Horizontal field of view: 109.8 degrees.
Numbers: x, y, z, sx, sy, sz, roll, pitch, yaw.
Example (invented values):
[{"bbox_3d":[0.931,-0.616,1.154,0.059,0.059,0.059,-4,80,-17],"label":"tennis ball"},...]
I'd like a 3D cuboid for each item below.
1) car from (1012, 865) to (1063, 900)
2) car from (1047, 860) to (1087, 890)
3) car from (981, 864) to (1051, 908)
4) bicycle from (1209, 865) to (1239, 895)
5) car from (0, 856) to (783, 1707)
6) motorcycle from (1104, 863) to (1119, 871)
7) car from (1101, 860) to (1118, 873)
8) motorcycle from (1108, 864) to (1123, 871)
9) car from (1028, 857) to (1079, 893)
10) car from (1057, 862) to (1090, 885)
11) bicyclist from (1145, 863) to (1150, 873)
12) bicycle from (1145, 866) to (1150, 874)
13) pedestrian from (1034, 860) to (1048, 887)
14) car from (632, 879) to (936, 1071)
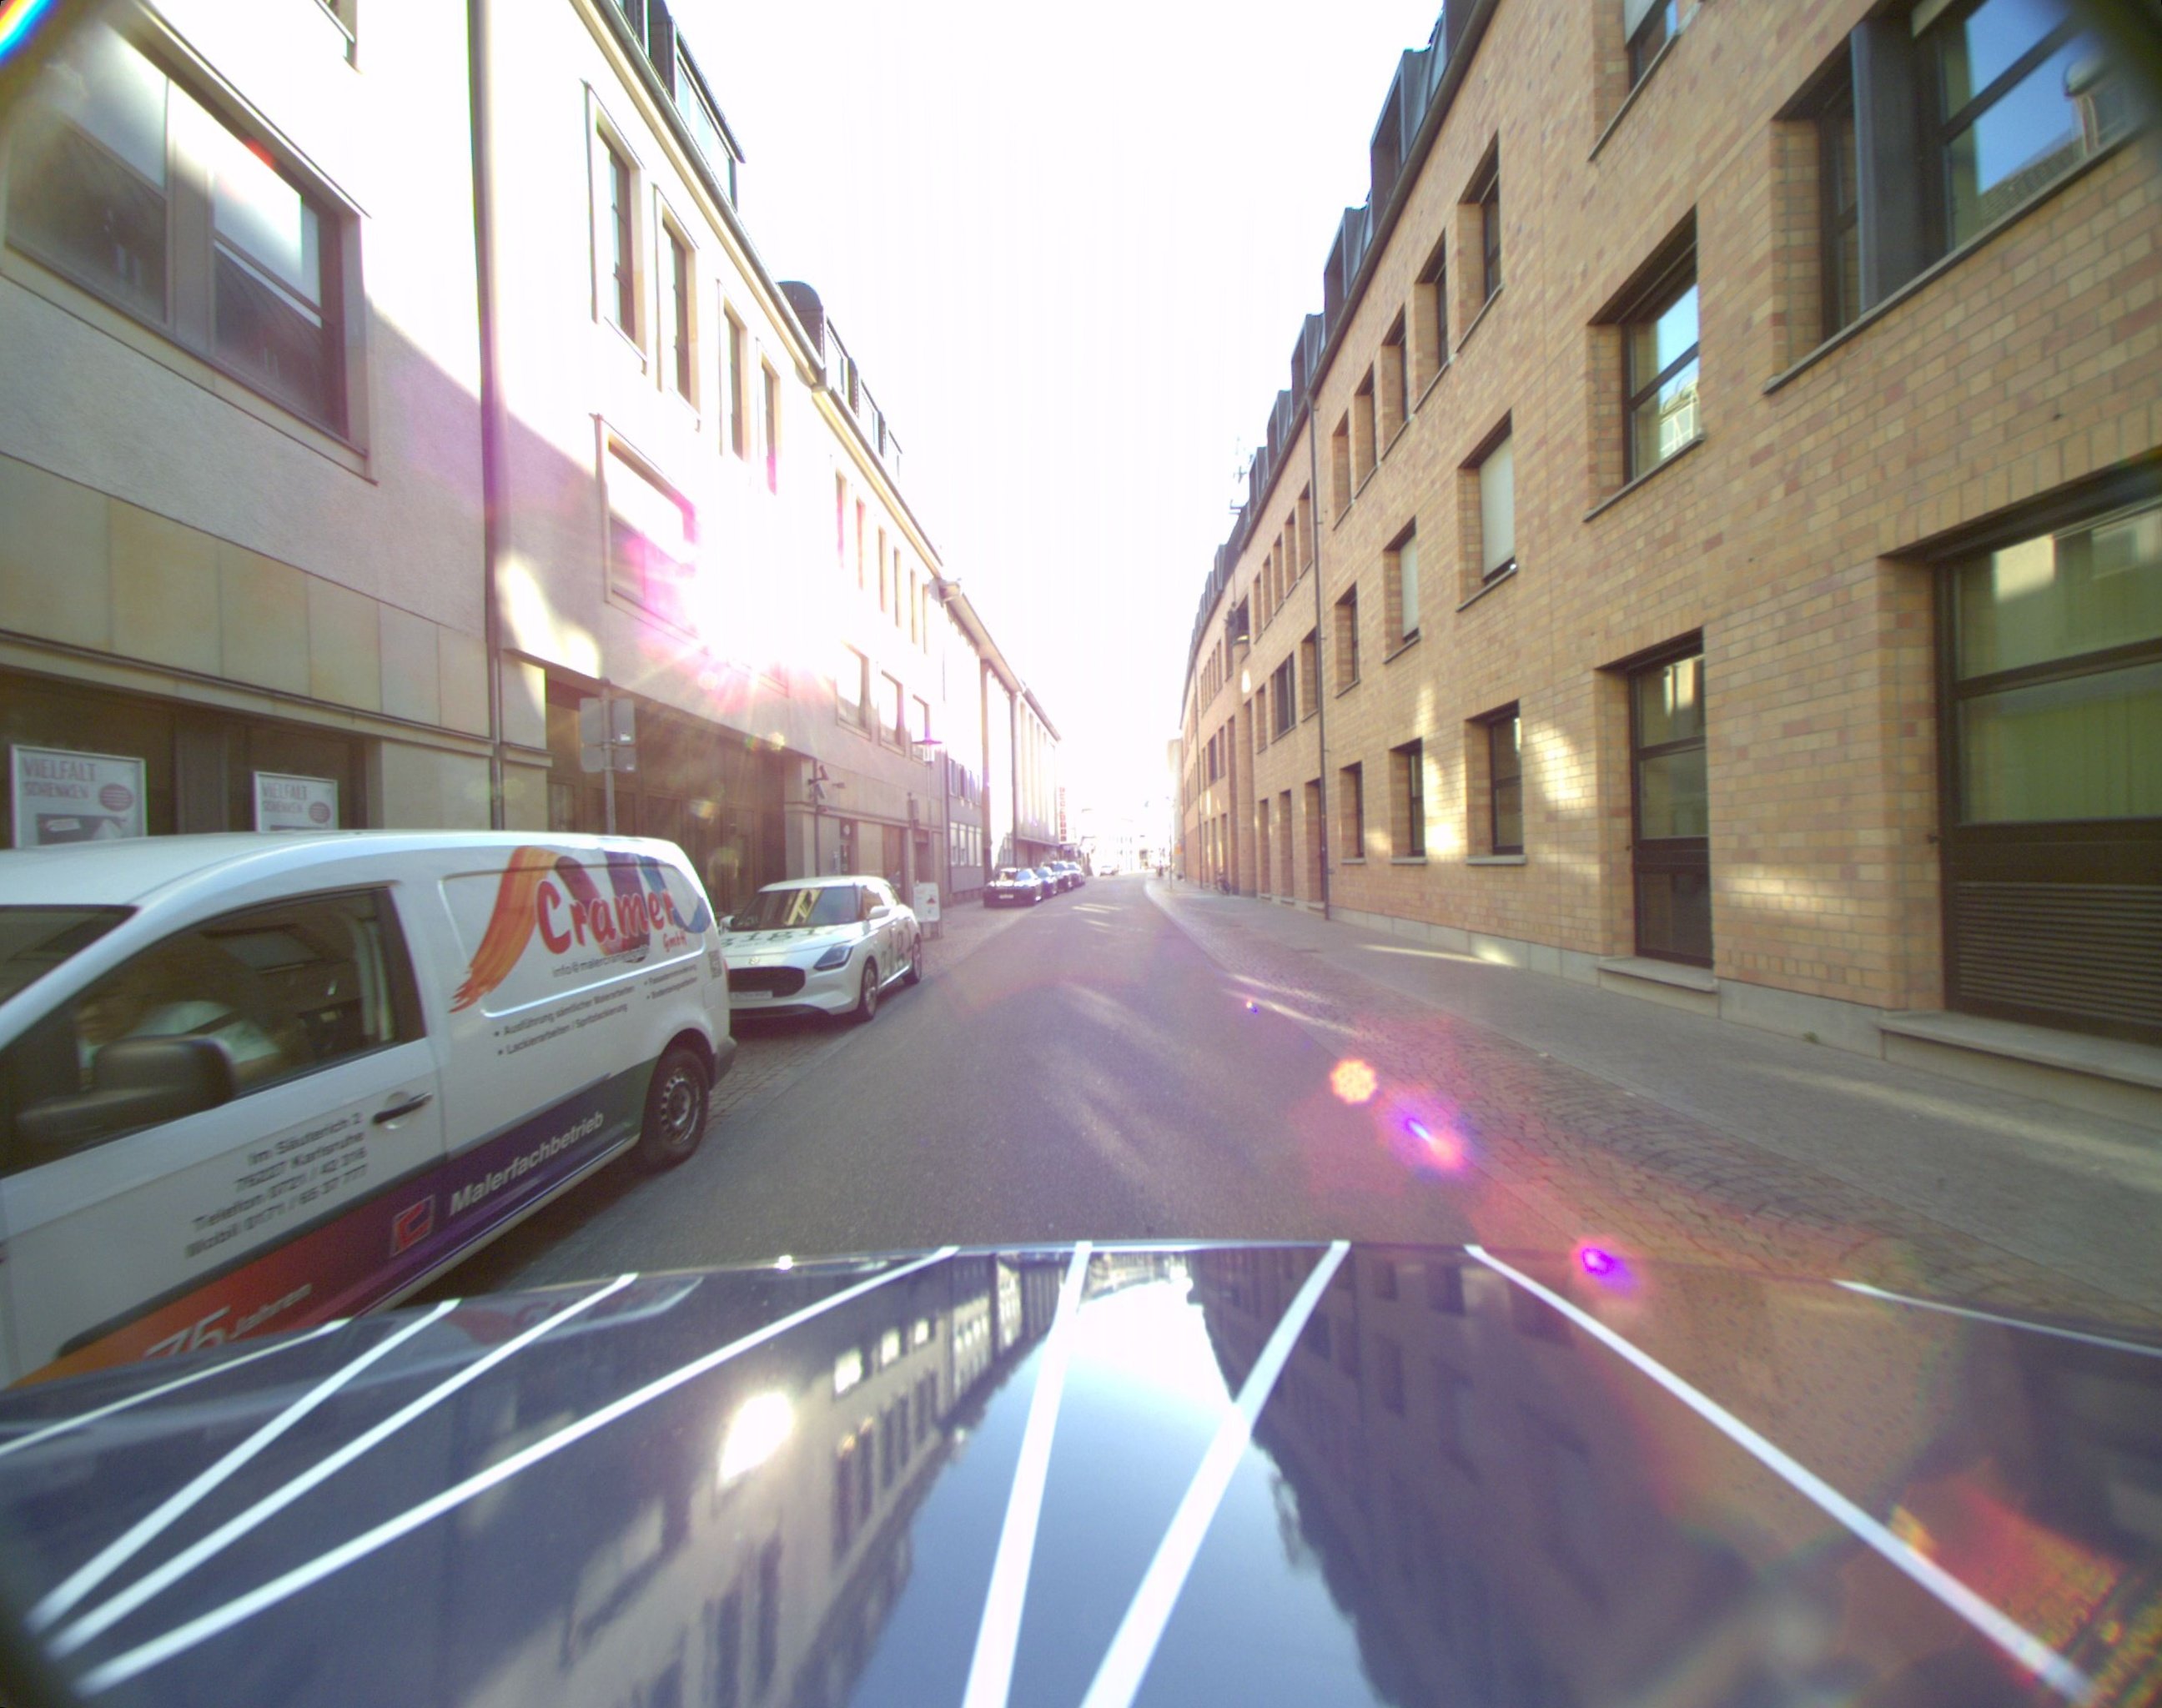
[{"bbox_3d":[-1.968,1.277,35.939,1.811,1.404,4.791,-4,0,3],"label":"car"},{"bbox_3d":[-0.860,1.291,49.145,1.998,1.692,4.845,-4,-1,5],"label":"car"},{"bbox_3d":[-2.433,1.197,29.920,1.898,1.444,5.227,-3,0,4],"label":"car"},{"bbox_3d":[5.884,1.056,31.349,0.633,1.155,1.803,-5,0,-5],"label":"bicycle"},{"bbox_3d":[-2.945,0.941,2.503,1.835,1.780,5.213,-3,0,-1],"label":"car"},{"bbox_3d":[4.112,1.778,102.313,1.995,0.950,0.646,-2,0,19],"label":"motorcycle"},{"bbox_3d":[3.589,1.507,95.109,1.846,1.453,4.001,-3,0,6],"label":"car"},{"bbox_3d":[4.781,1.867,106.175,1.995,0.950,0.646,-2,0,19],"label":"motorcycle"},{"bbox_3d":[-1.437,1.127,42.101,2.108,1.775,5.054,-3,0,5],"label":"car"},{"bbox_3d":[-0.494,1.366,54.893,1.827,1.495,4.602,-5,-1,5],"label":"car"},{"bbox_3d":[10.519,2.194,119.791,0.663,1.633,0.926,2,1,7],"label":"bicyclist"},{"bbox_3d":[10.500,2.479,119.727,0.652,1.125,1.737,2,1,8],"label":"bicycle"},{"bbox_3d":[-2.525,1.221,48.530,0.790,1.711,0.747,0,0,4],"label":"pedestrian"},{"bbox_3d":[-3.027,1.143,8.810,1.845,1.469,4.168,-4,0,-1],"label":"car"}]
